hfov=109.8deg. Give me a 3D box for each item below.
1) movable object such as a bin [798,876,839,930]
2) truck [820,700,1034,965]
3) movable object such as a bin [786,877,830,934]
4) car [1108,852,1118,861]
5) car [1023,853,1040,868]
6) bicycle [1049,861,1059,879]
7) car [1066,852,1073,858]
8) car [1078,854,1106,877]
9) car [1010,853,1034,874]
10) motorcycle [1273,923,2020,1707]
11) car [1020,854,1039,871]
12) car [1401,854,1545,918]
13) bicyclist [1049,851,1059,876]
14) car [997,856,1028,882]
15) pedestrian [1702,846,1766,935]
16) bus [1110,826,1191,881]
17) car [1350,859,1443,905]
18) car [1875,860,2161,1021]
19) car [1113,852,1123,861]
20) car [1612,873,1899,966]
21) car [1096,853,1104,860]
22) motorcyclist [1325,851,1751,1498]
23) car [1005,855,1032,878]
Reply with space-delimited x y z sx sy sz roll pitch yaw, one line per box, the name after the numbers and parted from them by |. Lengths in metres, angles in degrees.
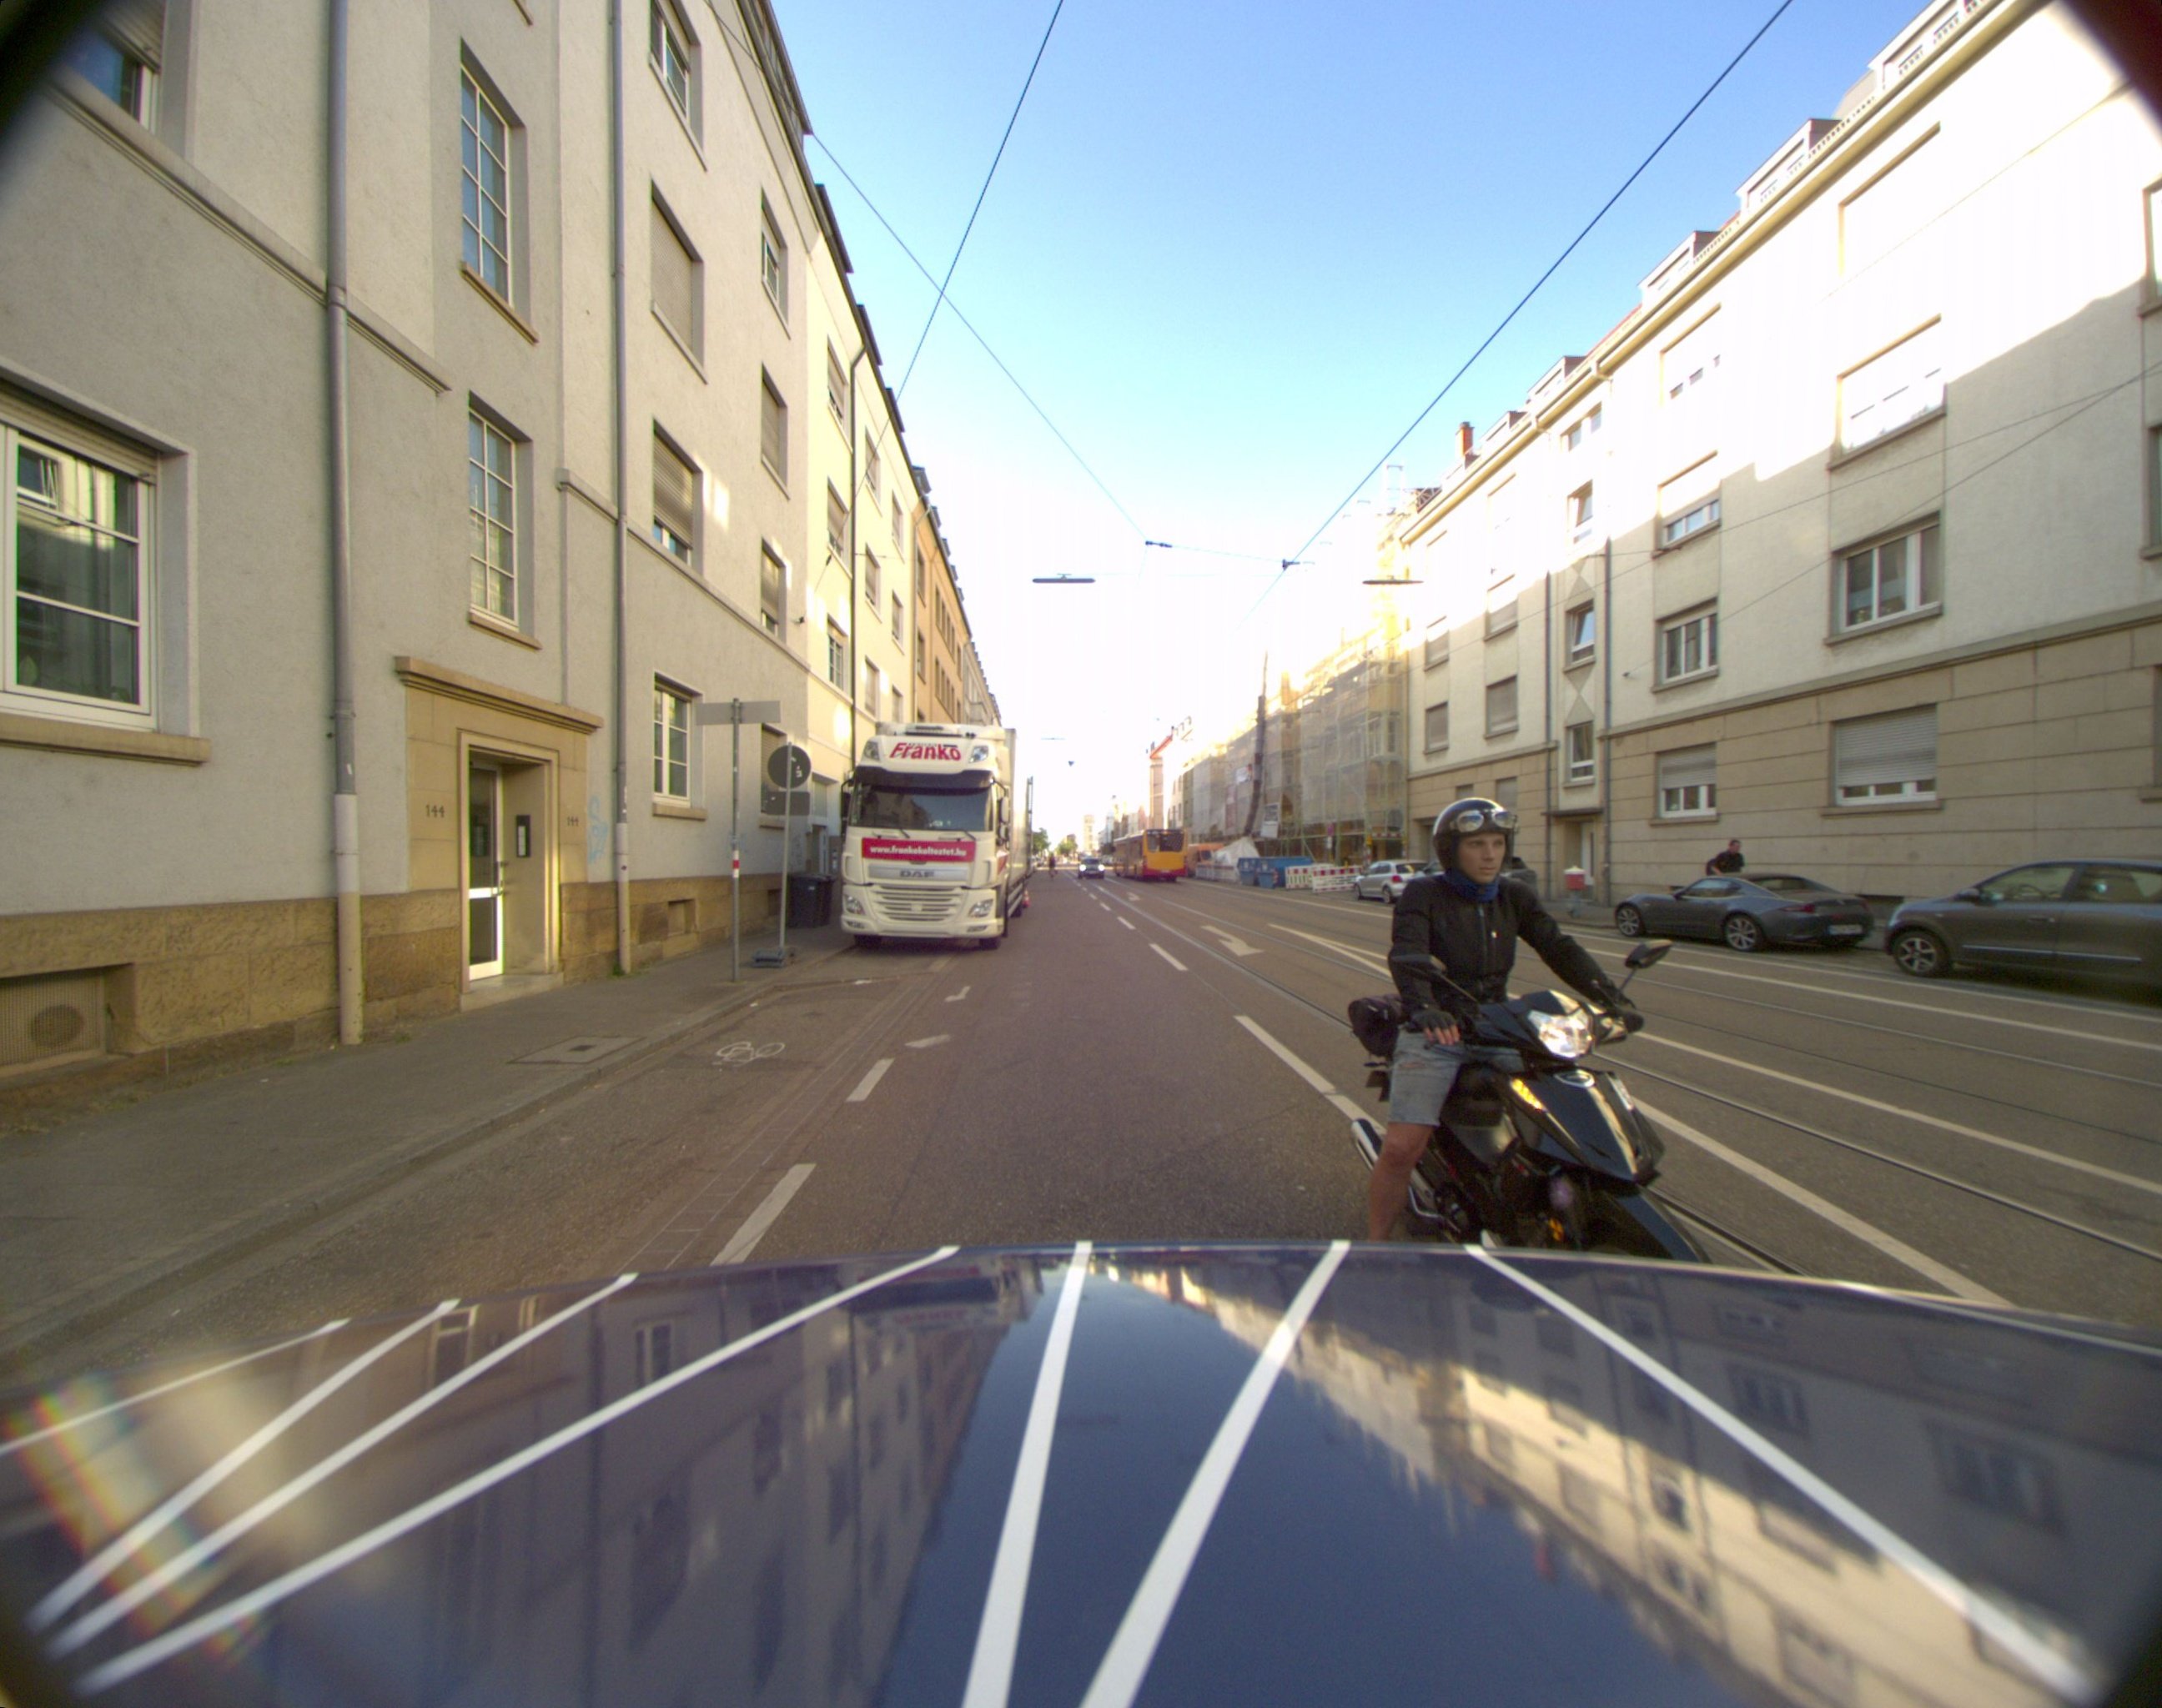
-5.410 0.998 15.694 0.666 1.087 0.570 0 1 -2 | movable object such as a bin
-2.636 -0.320 17.166 2.782 3.903 11.816 0 0 -2 | truck
-5.393 1.006 15.025 0.666 1.087 0.570 0 1 -2 | movable object such as a bin
5.933 0.460 139.330 1.684 1.478 3.966 -2 0 1 | car
-5.368 0.656 82.729 1.685 1.522 4.148 -2 0 -3 | car
-1.763 1.014 49.340 0.618 1.097 1.885 0 0 -4 | bicycle
-3.413 0.389 230.576 1.999 1.838 3.998 0 0 -4 | car
0.736 0.781 52.711 1.685 1.454 4.148 -2 0 -3 | car
-4.526 0.751 59.143 1.685 1.522 4.148 -2 0 -3 | car
1.301 0.973 2.505 0.791 1.284 2.273 0 0 1 | motorcycle
-4.873 0.754 72.083 1.685 1.522 4.148 -2 0 -3 | car
10.800 0.809 21.318 1.696 1.590 4.206 -1 0 -3 | car
-1.767 0.619 49.353 0.618 1.620 0.759 0 1 -4 | bicyclist
-4.190 0.900 47.172 1.685 1.522 4.148 -2 0 -3 | car
12.827 0.697 14.939 0.605 1.699 0.730 0 1 -2 | pedestrian
4.291 -0.033 52.610 2.755 3.095 19.156 0 0 -3 | bus
10.598 0.886 25.766 1.543 1.404 3.510 -1 0 -3 | car
11.407 0.863 8.306 1.679 1.519 3.539 -1 0 -3 | car
6.507 0.480 134.387 1.684 1.478 3.966 -2 0 1 | car
11.170 1.003 12.968 1.520 1.227 3.685 -1 0 -3 | car
4.230 0.635 167.798 1.684 1.478 3.965 -2 0 -1 | car
1.300 0.816 2.376 0.791 1.645 0.900 0 1 1 | motorcyclist
-4.317 0.833 52.975 1.685 1.522 4.148 -2 0 -3 | car
